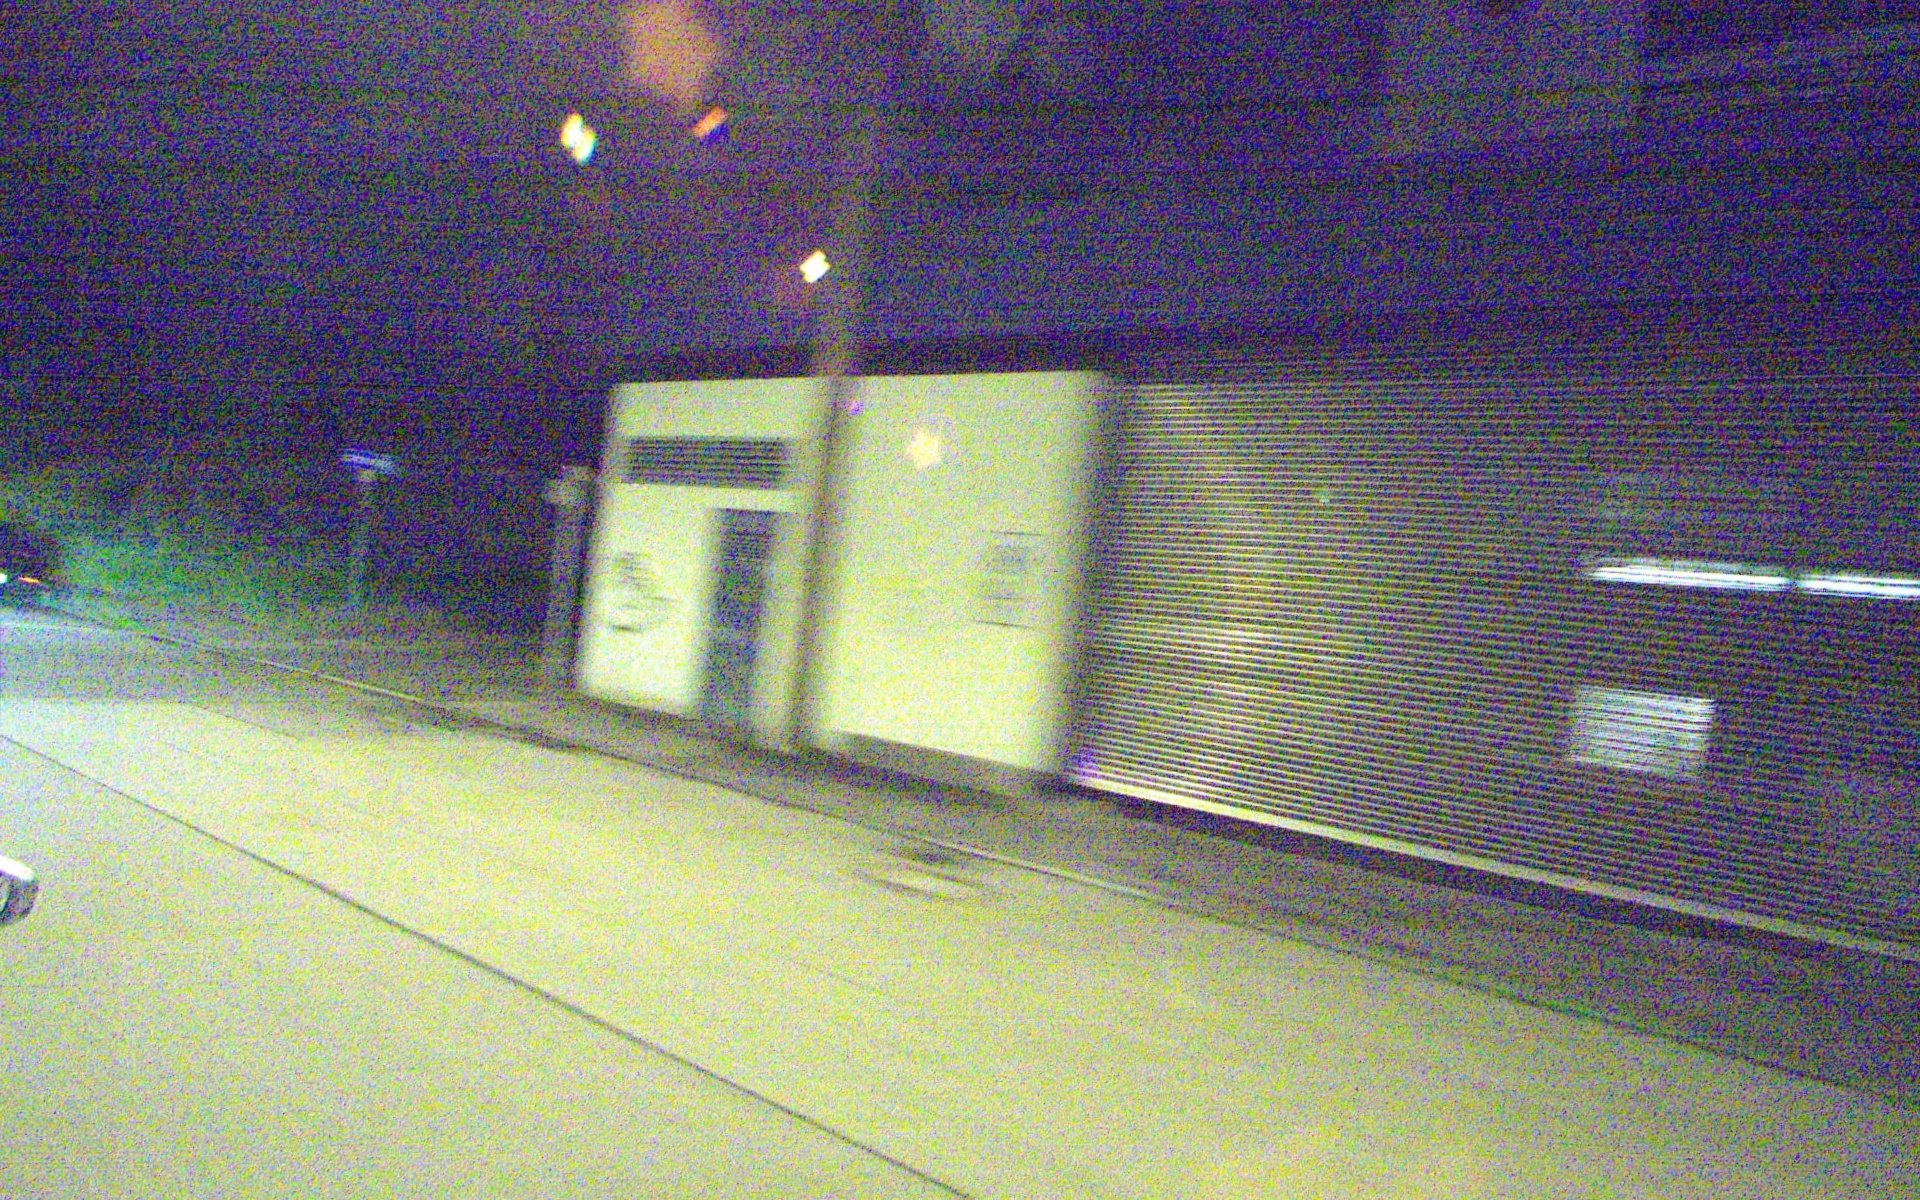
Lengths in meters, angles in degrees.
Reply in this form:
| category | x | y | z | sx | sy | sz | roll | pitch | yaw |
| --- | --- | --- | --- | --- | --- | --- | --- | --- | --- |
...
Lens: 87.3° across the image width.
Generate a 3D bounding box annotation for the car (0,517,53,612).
| category | x | y | z | sx | sy | sz | roll | pitch | yaw |
| --- | --- | --- | --- | --- | --- | --- | --- | --- | --- |
| car | -17.025 | -0.819 | 16.542 | 4.597 | 1.402 | 1.731 | 7 | -2 | 30 |
